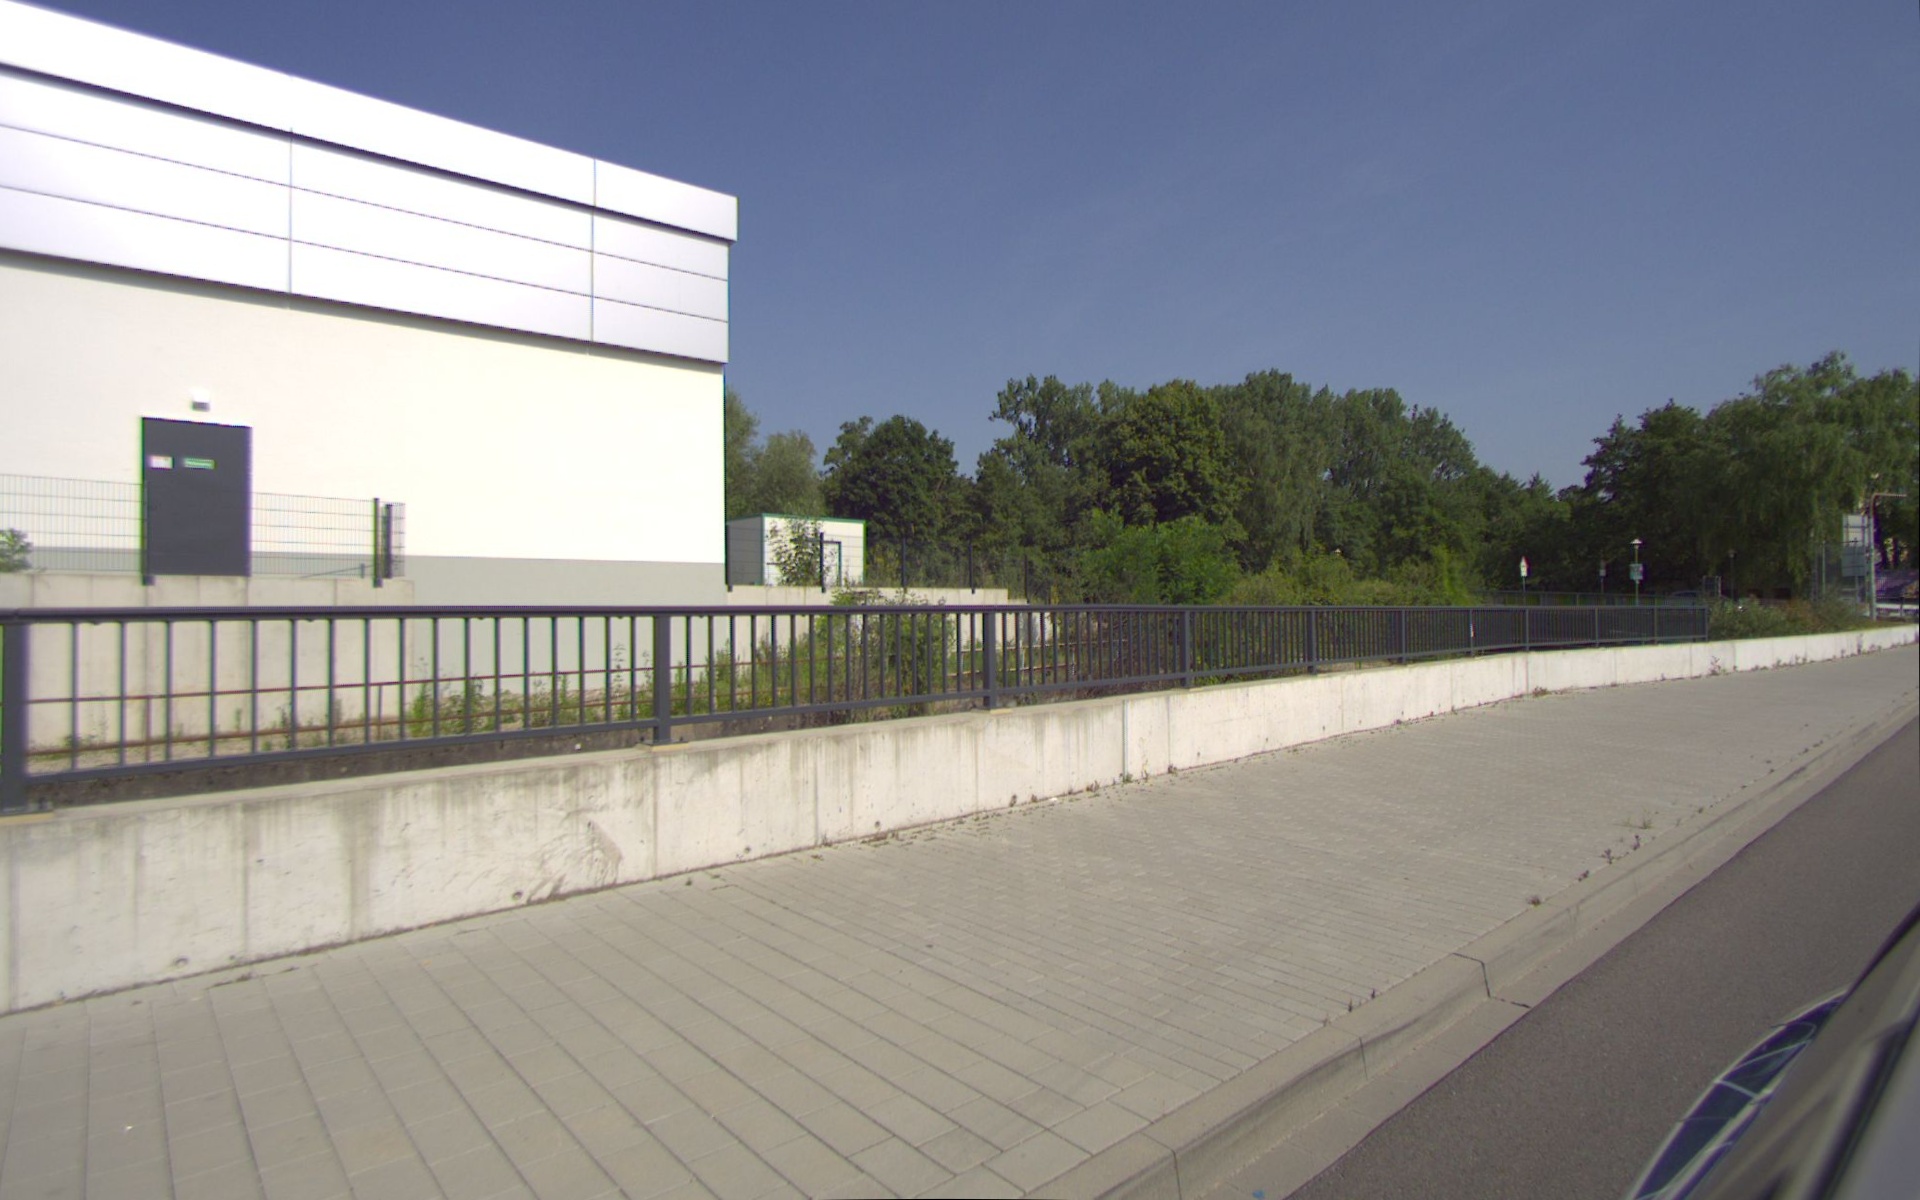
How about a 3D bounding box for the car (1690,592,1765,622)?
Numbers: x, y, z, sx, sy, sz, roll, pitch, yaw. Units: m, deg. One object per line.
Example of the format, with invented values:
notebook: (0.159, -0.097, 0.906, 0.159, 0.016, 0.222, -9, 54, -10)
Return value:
car: (43.988, 0.348, 58.109, 1.640, 1.537, 4.076, 1, 2, 8)
